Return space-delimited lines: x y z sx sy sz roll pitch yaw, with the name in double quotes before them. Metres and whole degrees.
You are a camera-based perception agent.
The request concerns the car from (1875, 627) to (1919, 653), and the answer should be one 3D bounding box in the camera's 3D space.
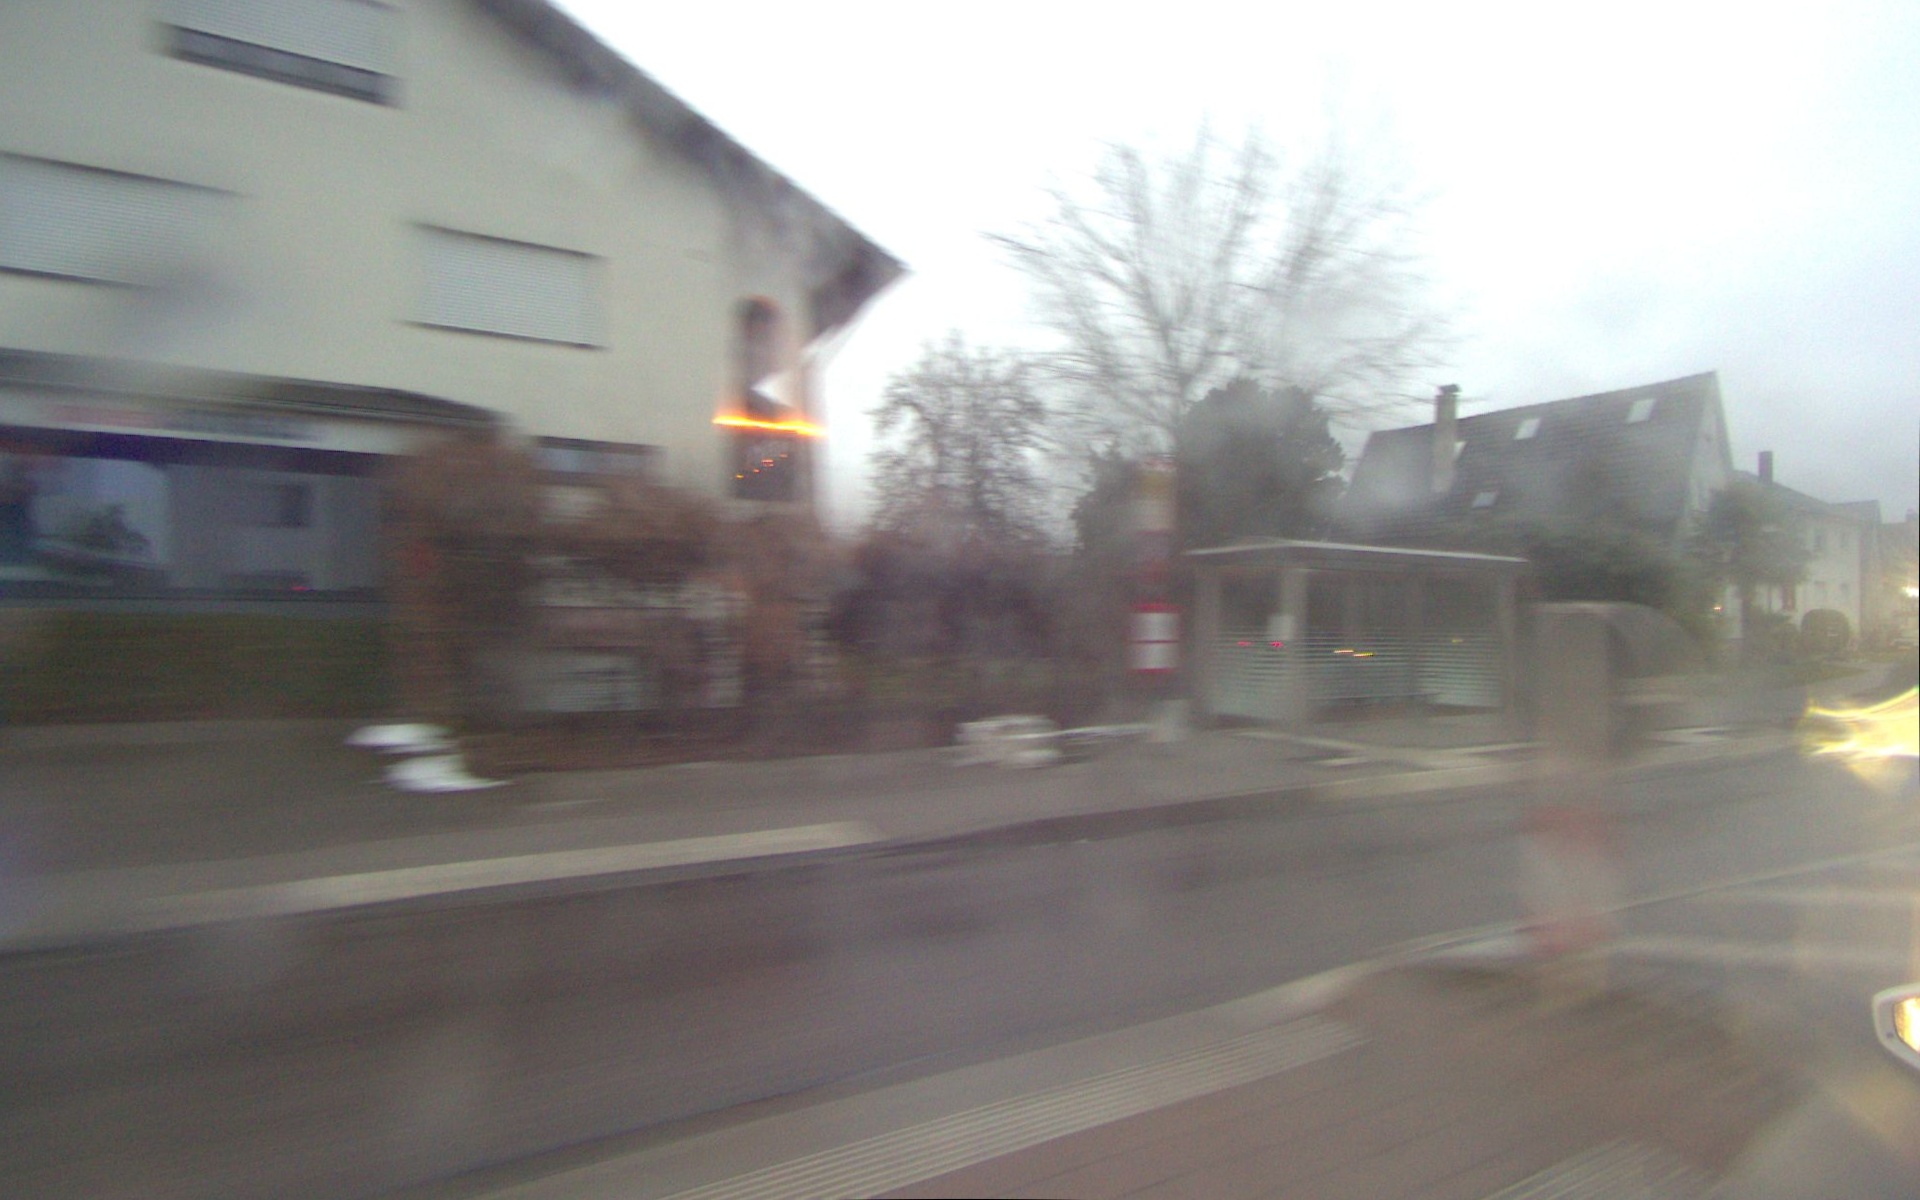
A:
"car" 54.905 2.320 58.807 1.756 1.411 3.982 1 -1 39
